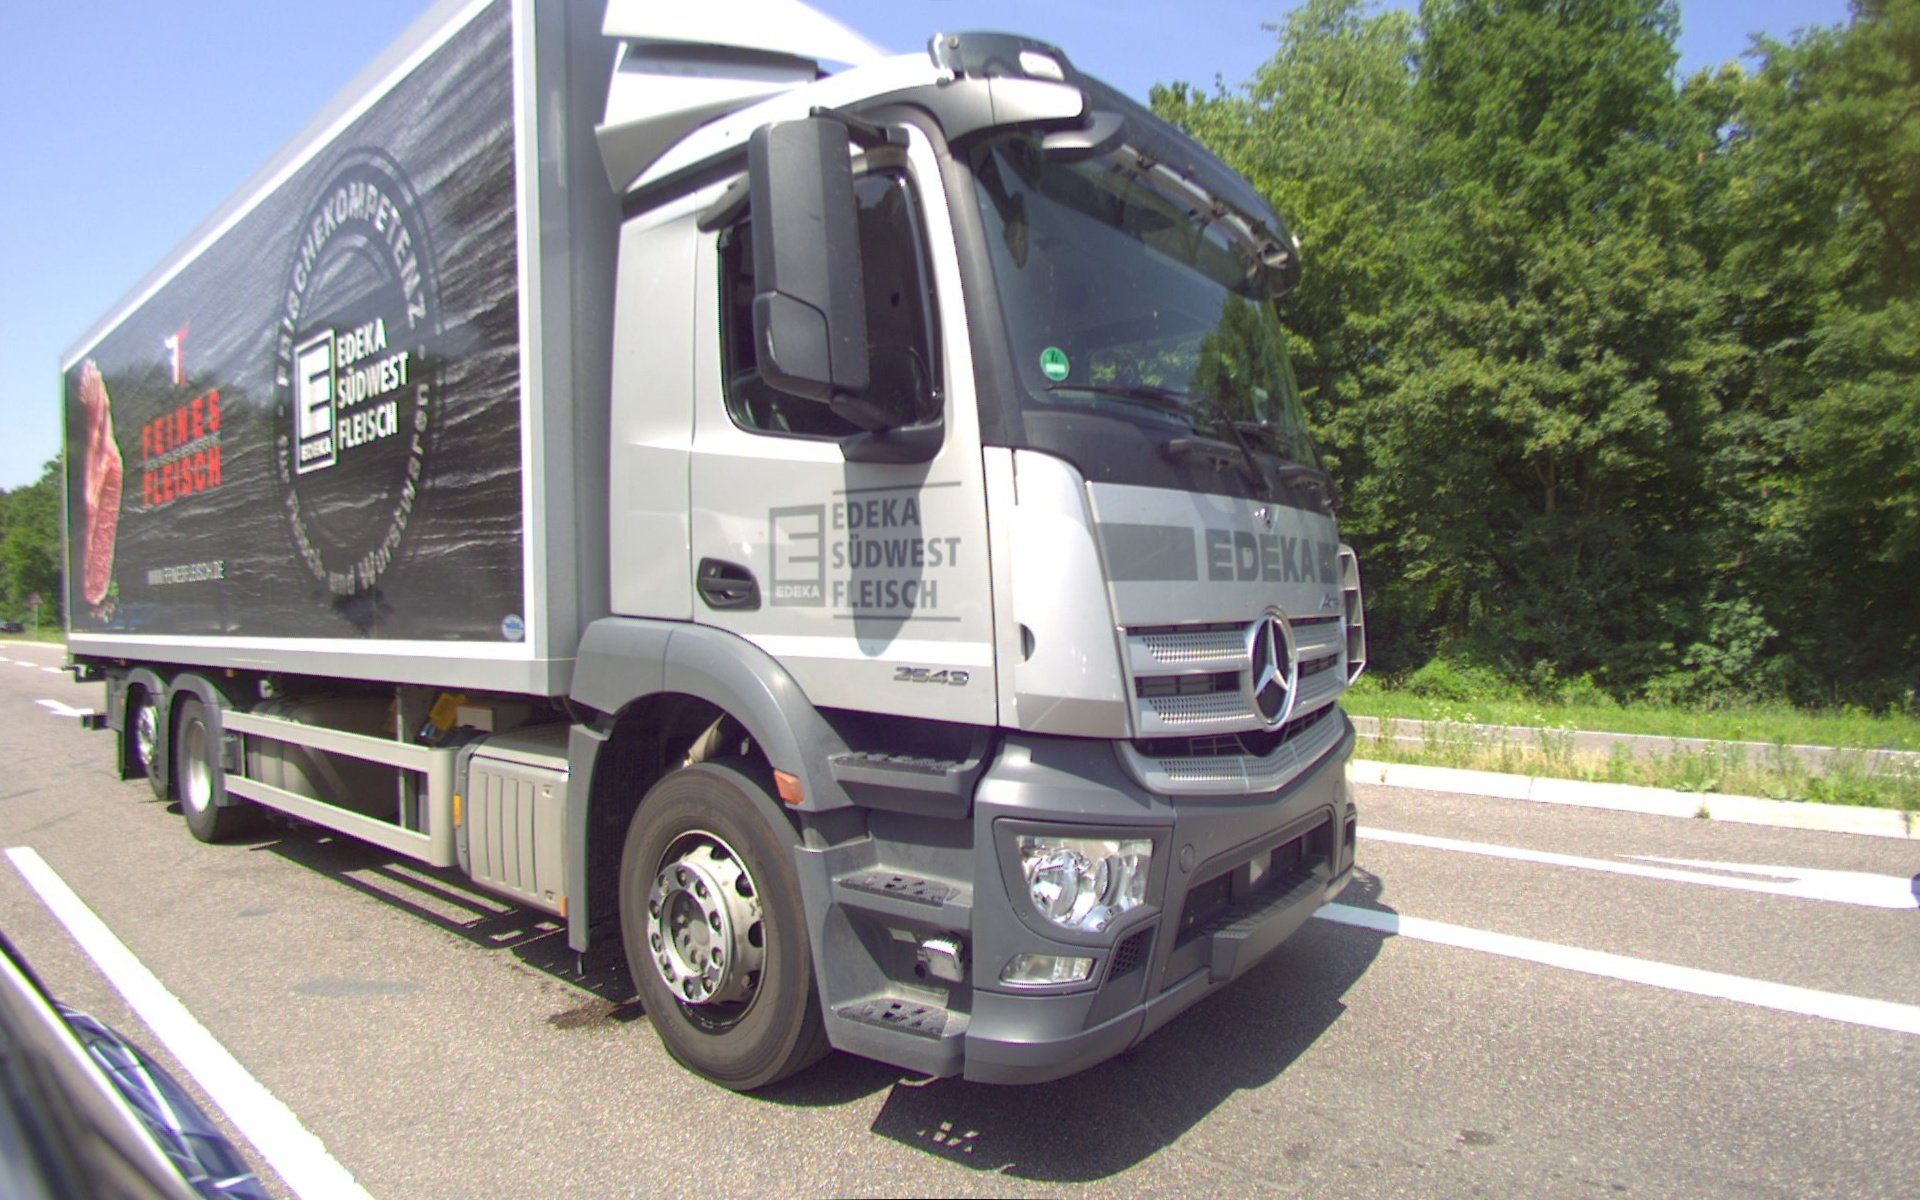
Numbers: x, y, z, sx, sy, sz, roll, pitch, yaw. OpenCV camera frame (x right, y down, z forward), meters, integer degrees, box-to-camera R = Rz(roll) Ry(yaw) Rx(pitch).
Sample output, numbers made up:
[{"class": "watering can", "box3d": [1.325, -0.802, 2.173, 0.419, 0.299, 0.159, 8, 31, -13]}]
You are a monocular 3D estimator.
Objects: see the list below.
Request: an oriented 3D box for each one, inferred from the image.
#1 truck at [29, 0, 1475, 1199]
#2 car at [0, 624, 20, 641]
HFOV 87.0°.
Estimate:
[{"class": "truck", "box3d": [-3.176, -0.516, 6.607, 11.309, 3.914, 2.719, -1, 0, 39]}, {"class": "car", "box3d": [-88.881, 3.007, 93.924, 3.997, 1.564, 1.973, -1, 0, 40]}]
